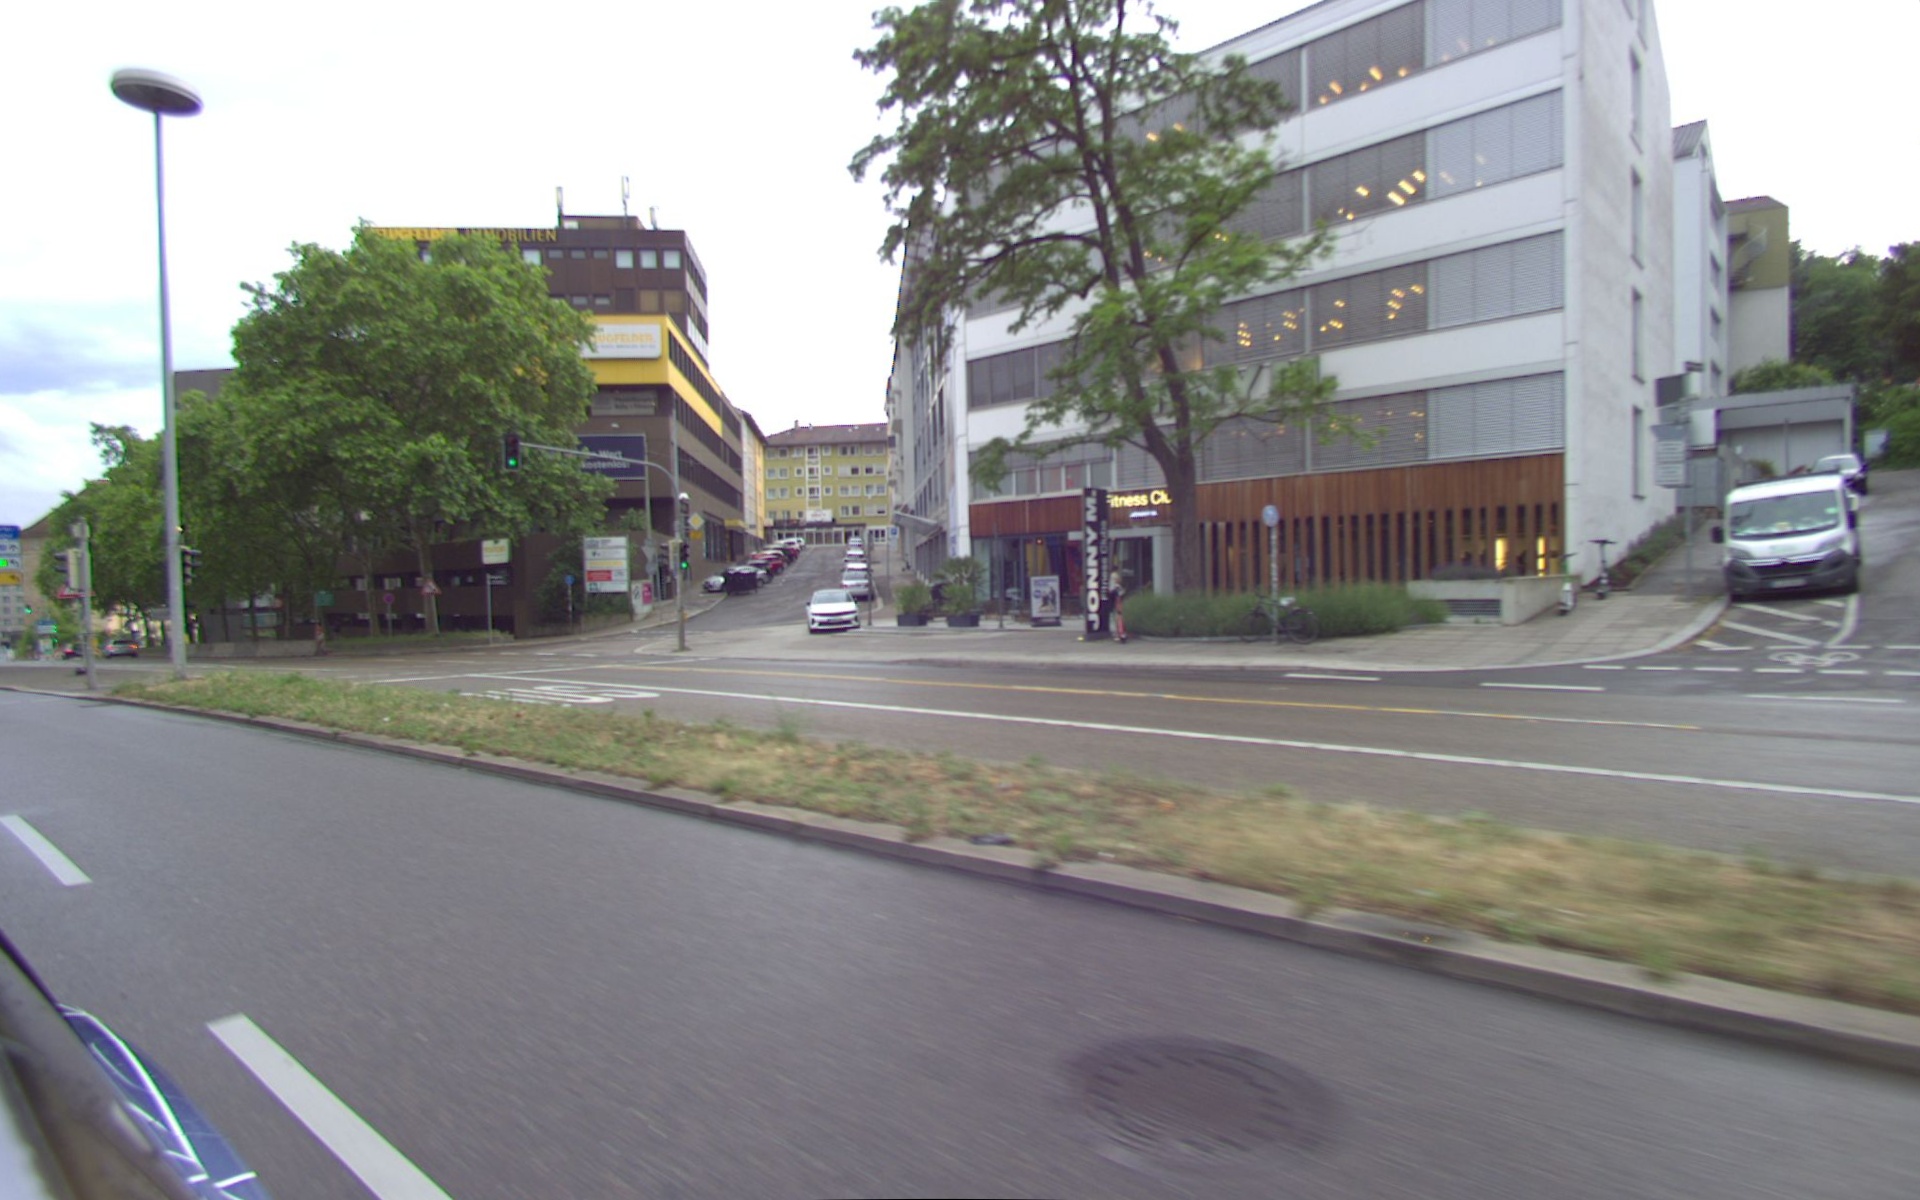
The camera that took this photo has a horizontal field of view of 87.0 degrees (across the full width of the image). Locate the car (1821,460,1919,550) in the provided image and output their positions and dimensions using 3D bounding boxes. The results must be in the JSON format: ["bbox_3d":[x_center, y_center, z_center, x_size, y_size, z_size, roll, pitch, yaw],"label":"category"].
[{"bbox_3d":[24.032,-2.524,26.471,2.001,1.794,3.947,-2,8,44],"label":"car"}]

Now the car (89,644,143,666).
[{"bbox_3d":[-61.902,4.022,74.181,4.873,1.458,1.975,-3,-2,37],"label":"car"}]

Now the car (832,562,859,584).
[{"bbox_3d":[-9.079,-2.147,80.277,1.969,1.586,4.495,-3,2,-7],"label":"car"}]

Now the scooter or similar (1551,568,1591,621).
[{"bbox_3d":[12.573,-0.123,20.809,0.443,0.928,1.455,-3,4,40],"label":"scooter or similar"}]

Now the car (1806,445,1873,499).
[{"bbox_3d":[33.551,-4.927,38.689,1.812,1.695,3.765,-3,6,40],"label":"car"}]

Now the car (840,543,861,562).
[{"bbox_3d":[-10.886,-4.779,101.154,1.970,1.829,4.006,-2,4,-5],"label":"car"}]

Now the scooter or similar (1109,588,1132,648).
[{"bbox_3d":[3.753,0.405,23.644,0.366,1.256,1.749,-2,3,13],"label":"scooter or similar"}]

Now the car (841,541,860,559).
[{"bbox_3d":[-11.733,-5.381,108.764,1.970,1.829,4.006,-2,4,-5],"label":"car"}]

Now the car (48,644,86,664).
[{"bbox_3d":[-73.242,4.447,83.007,4.166,1.530,1.736,-3,-2,39],"label":"car"}]

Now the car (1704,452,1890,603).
[{"bbox_3d":[18.019,-1.662,21.608,2.514,2.291,6.833,-7,4,43],"label":"car"}]

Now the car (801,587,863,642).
[{"bbox_3d":[-4.713,0.465,36.739,1.968,1.666,4.854,-3,2,-9],"label":"car"}]

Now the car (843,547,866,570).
[{"bbox_3d":[-9.869,-3.910,94.875,1.970,2.028,4.006,-2,4,-5],"label":"car"}]

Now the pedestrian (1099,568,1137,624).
[{"bbox_3d":[4.810,-0.129,30.805,0.841,1.653,0.760,-3,-2,42],"label":"pedestrian"}]

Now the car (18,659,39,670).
[{"bbox_3d":[-133.006,9.246,144.504,4.505,1.447,1.913,-4,-2,42],"label":"car"}]

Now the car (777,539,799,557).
[{"bbox_3d":[-17.143,-5.194,101.190,1.793,1.696,4.006,-2,4,-5],"label":"car"}]

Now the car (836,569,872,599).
[{"bbox_3d":[-6.398,-0.990,60.542,1.969,1.586,4.495,-3,2,-7],"label":"car"}]

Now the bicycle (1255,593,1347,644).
[{"bbox_3d":[7.060,0.386,21.011,1.758,0.999,0.451,-2,0,43],"label":"bicycle"}]

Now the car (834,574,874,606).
[{"bbox_3d":[-5.789,-0.573,54.874,1.969,1.476,4.495,-3,2,-7],"label":"car"}]

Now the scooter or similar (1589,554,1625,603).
[{"bbox_3d":[14.405,-0.493,22.514,0.443,0.928,1.455,-3,4,40],"label":"scooter or similar"}]

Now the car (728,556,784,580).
[{"bbox_3d":[-15.503,-2.439,77.007,3.939,1.696,1.823,-2,4,-5],"label":"car"}]

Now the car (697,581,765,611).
[{"bbox_3d":[-14.270,-0.272,63.243,3.939,1.696,1.822,-2,0,-5],"label":"car"}]

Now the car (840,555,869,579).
[{"bbox_3d":[-7.803,-2.425,74.329,1.969,1.586,4.495,-3,2,-7],"label":"car"}]
